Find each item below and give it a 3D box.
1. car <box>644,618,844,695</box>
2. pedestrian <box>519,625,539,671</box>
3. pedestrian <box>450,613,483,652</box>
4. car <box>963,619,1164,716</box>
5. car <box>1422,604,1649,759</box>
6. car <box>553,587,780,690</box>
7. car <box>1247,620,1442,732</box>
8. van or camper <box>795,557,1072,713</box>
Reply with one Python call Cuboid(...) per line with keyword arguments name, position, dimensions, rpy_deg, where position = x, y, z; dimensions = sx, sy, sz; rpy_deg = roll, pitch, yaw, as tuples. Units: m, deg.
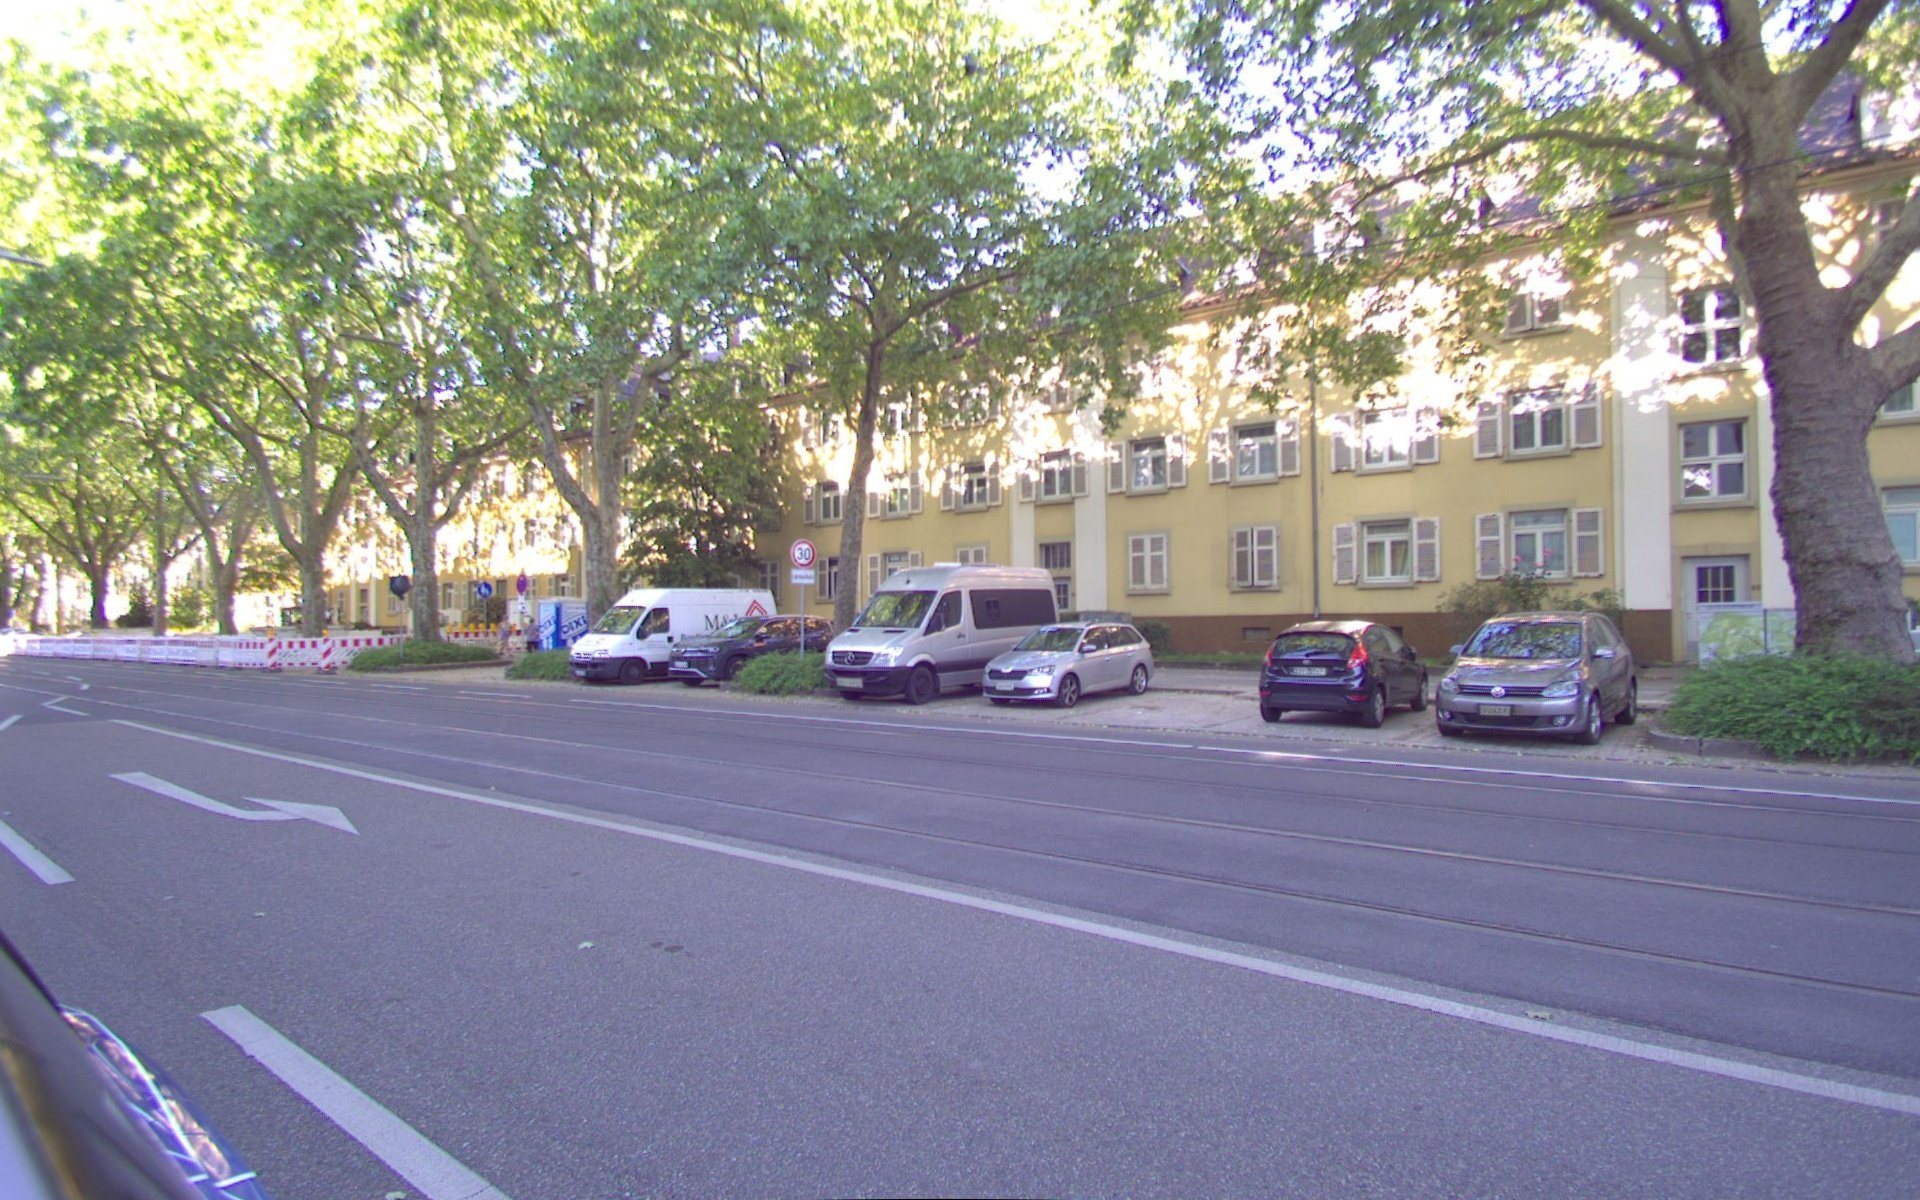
Cuboid(name="car", position=(-5.094, 1.280, 24.360), dimensions=(1.967, 1.643, 4.520), rpy_deg=(-2, -2, 38))
Cuboid(name="pedestrian", position=(-15.047, 1.683, 35.377), dimensions=(0.586, 1.585, 0.719), rpy_deg=(0, -2, -19))
Cuboid(name="pedestrian", position=(-25.610, 1.678, 52.498), dimensions=(1.233, 2.029, 1.085), rpy_deg=(-2, -2, 36))
Cuboid(name="car", position=(2.034, 1.163, 18.899), dimensions=(1.729, 1.481, 4.102), rpy_deg=(0, 1, 40))
Cuboid(name="car", position=(7.735, 0.931, 13.408), dimensions=(1.814, 1.617, 4.145), rpy_deg=(-2, 0, 41))
Cuboid(name="car", position=(-7.447, 0.954, 26.279), dimensions=(2.023, 2.394, 5.543), rpy_deg=(-2, -2, 38))
Cuboid(name="car", position=(5.904, 1.052, 15.322), dimensions=(1.740, 1.440, 3.528), rpy_deg=(-2, -1, 39))
Cuboid(name="van or camper", position=(-0.319, 0.617, 20.484), dimensions=(2.227, 2.697, 6.052), rpy_deg=(-2, -1, 38))
